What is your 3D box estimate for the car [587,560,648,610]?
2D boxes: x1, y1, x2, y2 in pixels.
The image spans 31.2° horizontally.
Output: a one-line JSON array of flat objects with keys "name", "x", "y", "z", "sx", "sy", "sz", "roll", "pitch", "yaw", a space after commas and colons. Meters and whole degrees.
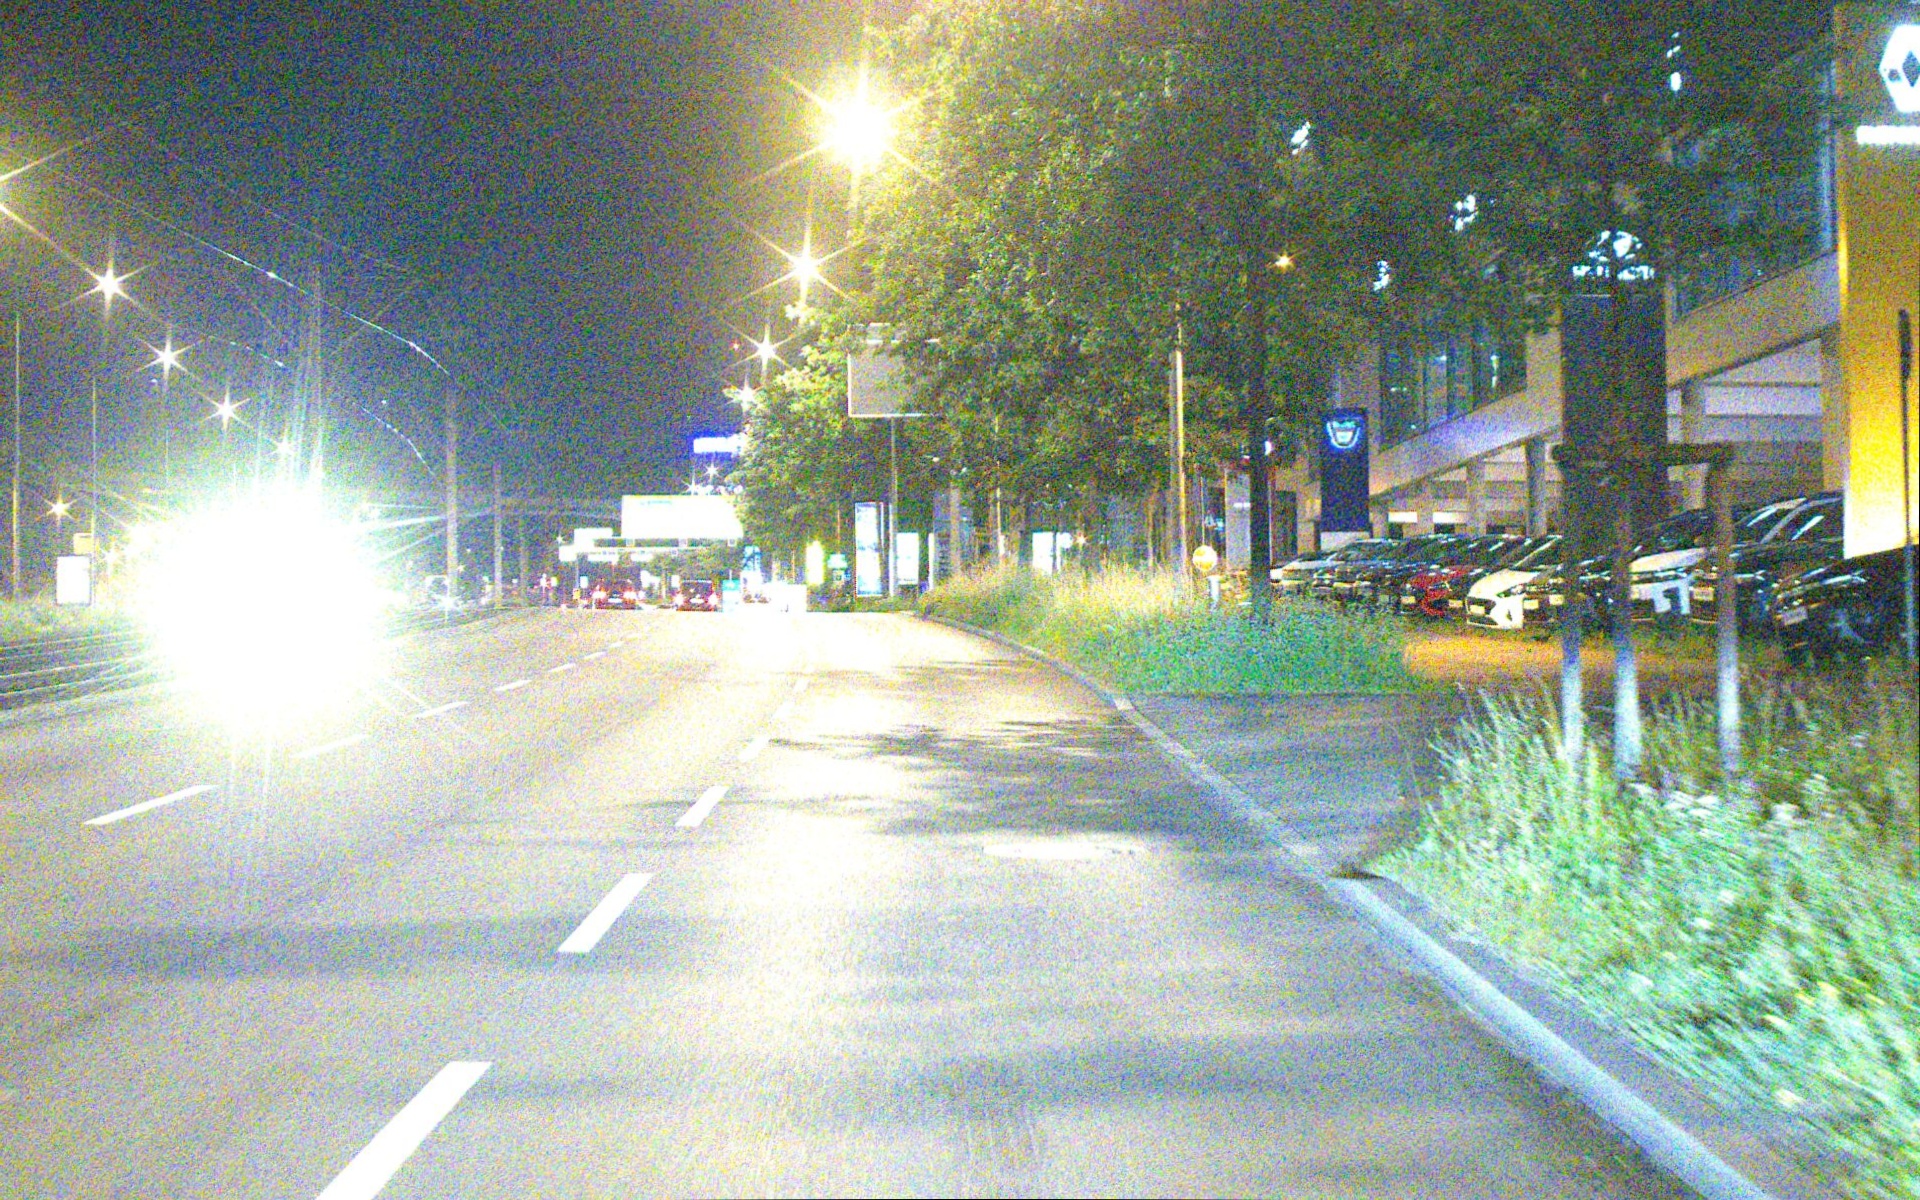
[{"name": "car", "x": -14.234, "y": -0.624, "z": 143.224, "sx": 2.262, "sy": 2.007, "sz": 4.826, "roll": 0, "pitch": 0, "yaw": -2}]

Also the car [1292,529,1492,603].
[{"name": "car", "x": 8.567, "y": -0.658, "z": 68.189, "sx": 3.601, "sy": 1.428, "sz": 1.680, "roll": 0, "pitch": 0, "yaw": -25}]

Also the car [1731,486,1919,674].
[{"name": "car", "x": 9.741, "y": -0.280, "z": 32.693, "sx": 4.201, "sy": 1.657, "sz": 1.962, "roll": -3, "pitch": 1, "yaw": -12}]

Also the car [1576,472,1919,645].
[{"name": "car", "x": 9.801, "y": -0.523, "z": 40.539, "sx": 4.459, "sy": 1.681, "sz": 2.001, "roll": -5, "pitch": 2, "yaw": -12}]

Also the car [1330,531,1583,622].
[{"name": "car", "x": 8.730, "y": -0.422, "z": 60.551, "sx": 3.986, "sy": 1.376, "sz": 1.809, "roll": -3, "pitch": 1, "yaw": -12}]

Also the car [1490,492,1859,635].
[{"name": "car", "x": 9.695, "y": -0.487, "z": 46.742, "sx": 4.459, "sy": 1.542, "sz": 1.770, "roll": -5, "pitch": 0, "yaw": -11}]

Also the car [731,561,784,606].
[{"name": "car", "x": -9.549, "y": -0.787, "z": 162.538, "sx": 2.427, "sy": 2.106, "sz": 4.826, "roll": 0, "pitch": 0, "yaw": -2}]

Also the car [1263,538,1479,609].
[{"name": "car", "x": 8.468, "y": -0.559, "z": 70.859, "sx": 3.986, "sy": 1.419, "sz": 1.910, "roll": -1, "pitch": 1, "yaw": -19}]

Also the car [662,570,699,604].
[{"name": "car", "x": -15.590, "y": -0.738, "z": 191.877, "sx": 1.887, "sy": 1.853, "sz": 4.000, "roll": 0, "pitch": 0, "yaw": -2}]

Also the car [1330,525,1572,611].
[{"name": "car", "x": 8.970, "y": -0.602, "z": 62.767, "sx": 3.986, "sy": 1.387, "sz": 1.827, "roll": -3, "pitch": 2, "yaw": -24}]

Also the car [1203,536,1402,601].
[{"name": "car", "x": 7.818, "y": -0.715, "z": 78.552, "sx": 4.120, "sy": 1.415, "sz": 1.877, "roll": 1, "pitch": 0, "yaw": -15}]

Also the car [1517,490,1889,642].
[{"name": "car", "x": 9.330, "y": -0.443, "z": 43.271, "sx": 4.079, "sy": 1.563, "sz": 1.855, "roll": -5, "pitch": 2, "yaw": -12}]

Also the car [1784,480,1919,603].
[{"name": "car", "x": 15.486, "y": -0.912, "z": 54.021, "sx": 1.830, "sy": 1.911, "sz": 4.826, "roll": 0, "pitch": 0, "yaw": -38}]

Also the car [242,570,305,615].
[{"name": "car", "x": -27.015, "y": -0.301, "z": 135.369, "sx": 1.779, "sy": 1.708, "sz": 4.227, "roll": 0, "pitch": 0, "yaw": -2}]

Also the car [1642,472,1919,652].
[{"name": "car", "x": 10.018, "y": -0.474, "z": 37.767, "sx": 4.459, "sy": 1.804, "sz": 2.001, "roll": -3, "pitch": 1, "yaw": -12}]

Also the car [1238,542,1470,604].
[{"name": "car", "x": 8.436, "y": -0.600, "z": 73.580, "sx": 4.628, "sy": 1.260, "sz": 1.948, "roll": -1, "pitch": 2, "yaw": -27}]

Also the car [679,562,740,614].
[{"name": "car", "x": -10.339, "y": -0.505, "z": 142.244, "sx": 2.356, "sy": 2.122, "sz": 4.826, "roll": 0, "pitch": 0, "yaw": -2}]

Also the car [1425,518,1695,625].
[{"name": "car", "x": 9.499, "y": -0.455, "z": 54.516, "sx": 3.766, "sy": 1.374, "sz": 1.717, "roll": -5, "pitch": 1, "yaw": -15}]

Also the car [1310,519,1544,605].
[{"name": "car", "x": 8.913, "y": -0.727, "z": 65.676, "sx": 3.986, "sy": 1.465, "sz": 1.833, "roll": -3, "pitch": 1, "yaw": -21}]

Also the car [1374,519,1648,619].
[{"name": "car", "x": 9.150, "y": -0.519, "z": 57.156, "sx": 4.022, "sy": 1.369, "sz": 1.826, "roll": -4, "pitch": 1, "yaw": -18}]

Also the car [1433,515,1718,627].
[{"name": "car", "x": 9.291, "y": -0.446, "z": 51.977, "sx": 3.801, "sy": 1.448, "sz": 1.718, "roll": -3, "pitch": 1, "yaw": -15}]
